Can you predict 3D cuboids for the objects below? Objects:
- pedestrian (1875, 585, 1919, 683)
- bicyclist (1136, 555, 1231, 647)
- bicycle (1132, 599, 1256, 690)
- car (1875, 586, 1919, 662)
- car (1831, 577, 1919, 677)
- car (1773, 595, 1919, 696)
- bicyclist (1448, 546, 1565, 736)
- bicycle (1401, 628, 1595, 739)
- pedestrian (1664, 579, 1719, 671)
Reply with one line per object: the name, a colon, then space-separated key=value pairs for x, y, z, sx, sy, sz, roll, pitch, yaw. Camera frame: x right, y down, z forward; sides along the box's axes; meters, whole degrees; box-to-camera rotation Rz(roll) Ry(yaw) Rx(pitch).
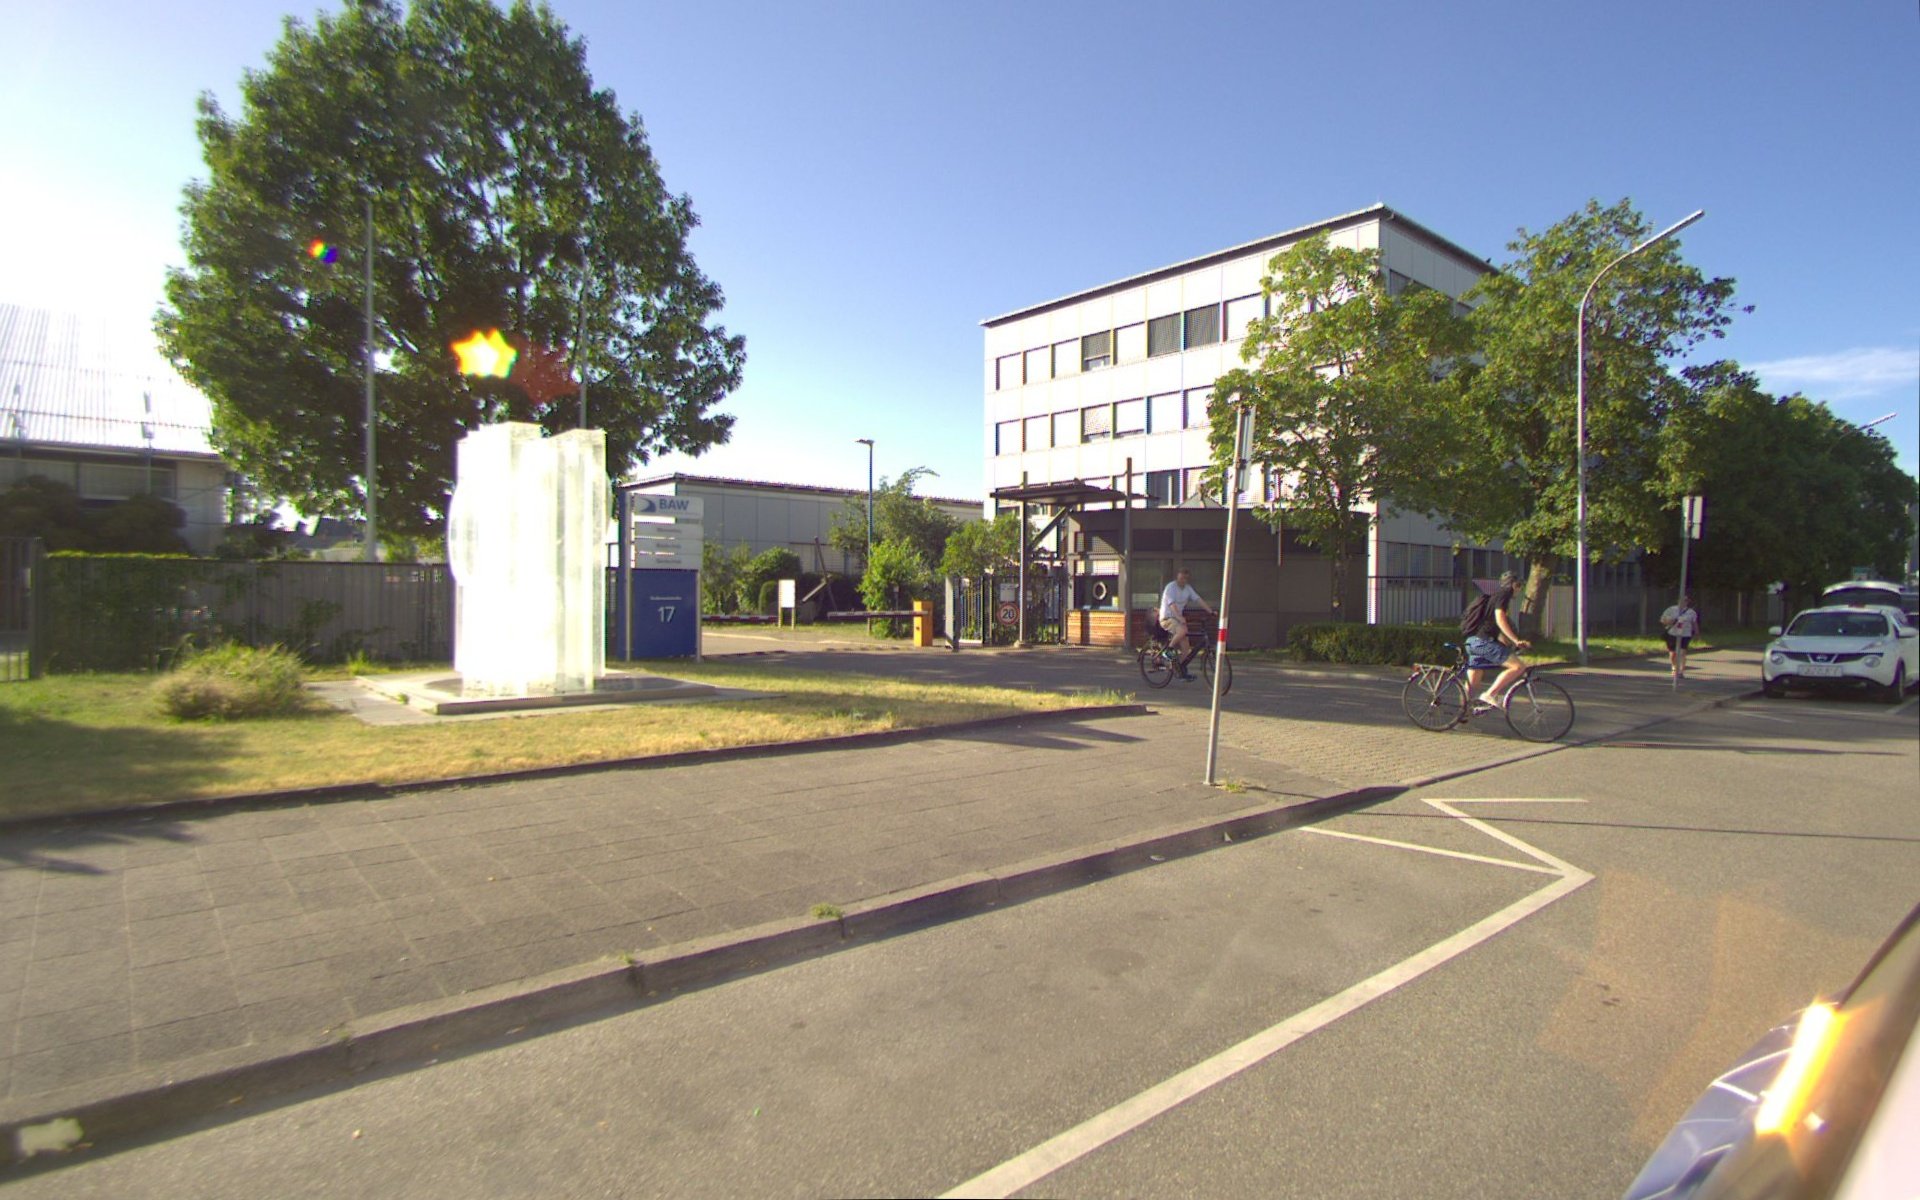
pedestrian: x=17.520 y=0.616 z=18.733 sx=0.690 sy=1.768 sz=0.591 roll=0 pitch=-1 yaw=-23
bicyclist: x=3.238 y=0.012 z=14.714 sx=0.844 sy=1.284 sz=1.102 roll=1 pitch=0 yaw=-25
bicycle: x=3.324 y=0.601 z=14.571 sx=0.654 sy=1.157 sz=1.906 roll=1 pitch=1 yaw=-25
car: x=24.500 y=0.573 z=25.465 sx=4.220 sy=1.817 sz=1.704 roll=0 pitch=-1 yaw=-41
car: x=19.749 y=0.522 z=21.191 sx=4.940 sy=1.893 sz=1.865 roll=0 pitch=-1 yaw=-45
car: x=15.460 y=0.699 z=17.328 sx=4.042 sy=1.533 sz=1.667 roll=0 pitch=-1 yaw=-41
bicyclist: x=6.230 y=0.431 z=11.608 sx=1.042 sy=2.039 sz=0.951 roll=3 pitch=1 yaw=26
bicycle: x=6.134 y=0.926 z=11.661 sx=1.866 sy=1.020 sz=0.695 roll=4 pitch=4 yaw=25
pedestrian: x=14.461 y=0.474 z=20.001 sx=0.762 sy=1.750 sz=0.692 roll=0 pitch=1 yaw=-42
